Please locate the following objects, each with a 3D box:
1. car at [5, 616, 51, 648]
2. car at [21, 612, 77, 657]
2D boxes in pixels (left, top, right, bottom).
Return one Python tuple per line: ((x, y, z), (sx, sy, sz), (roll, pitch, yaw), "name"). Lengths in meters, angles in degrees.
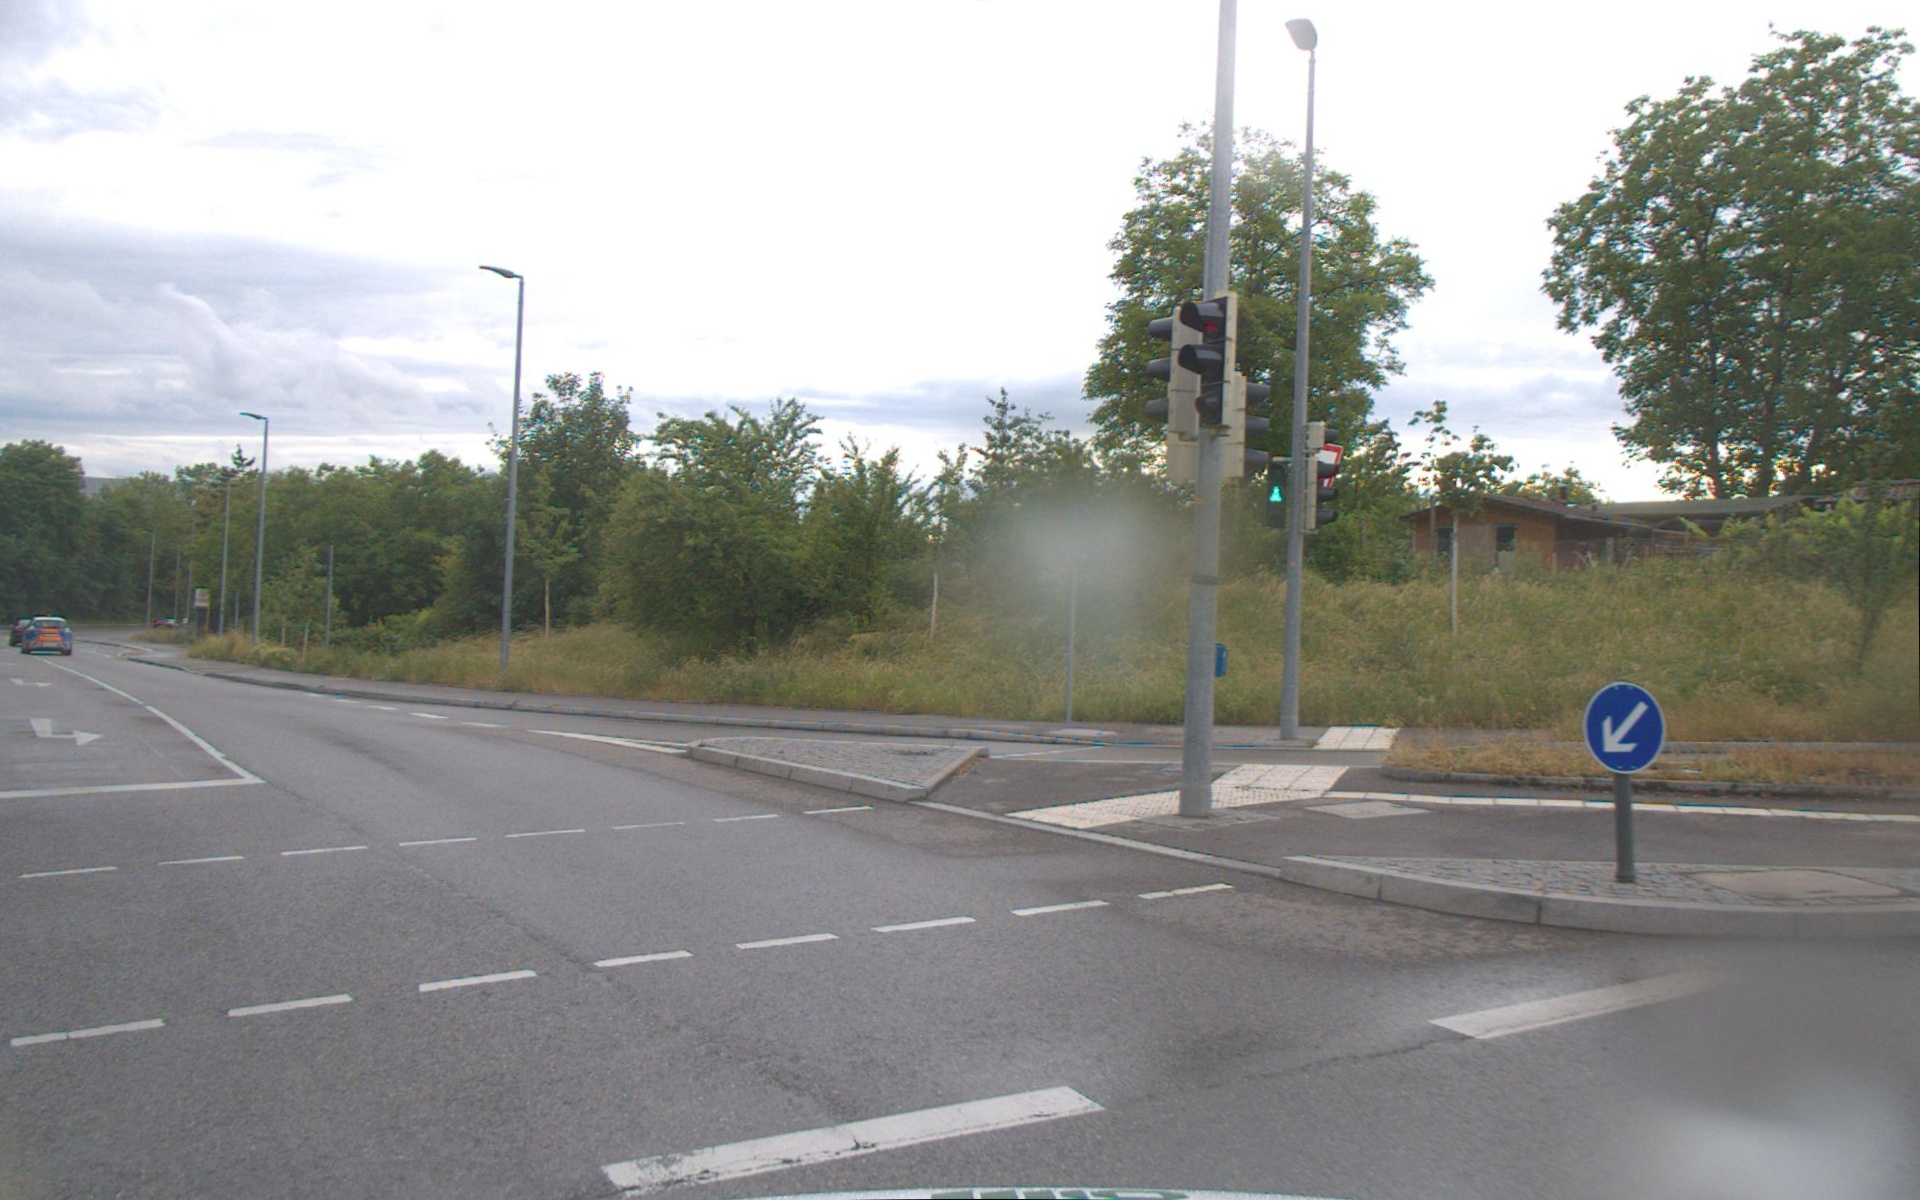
((-48.369, 1.657, 85.886), (1.905, 1.512, 3.765), (1, 0, -28), "car")
((-38.484, 1.426, 69.823), (1.973, 1.719, 3.960), (1, 0, -30), "car")
